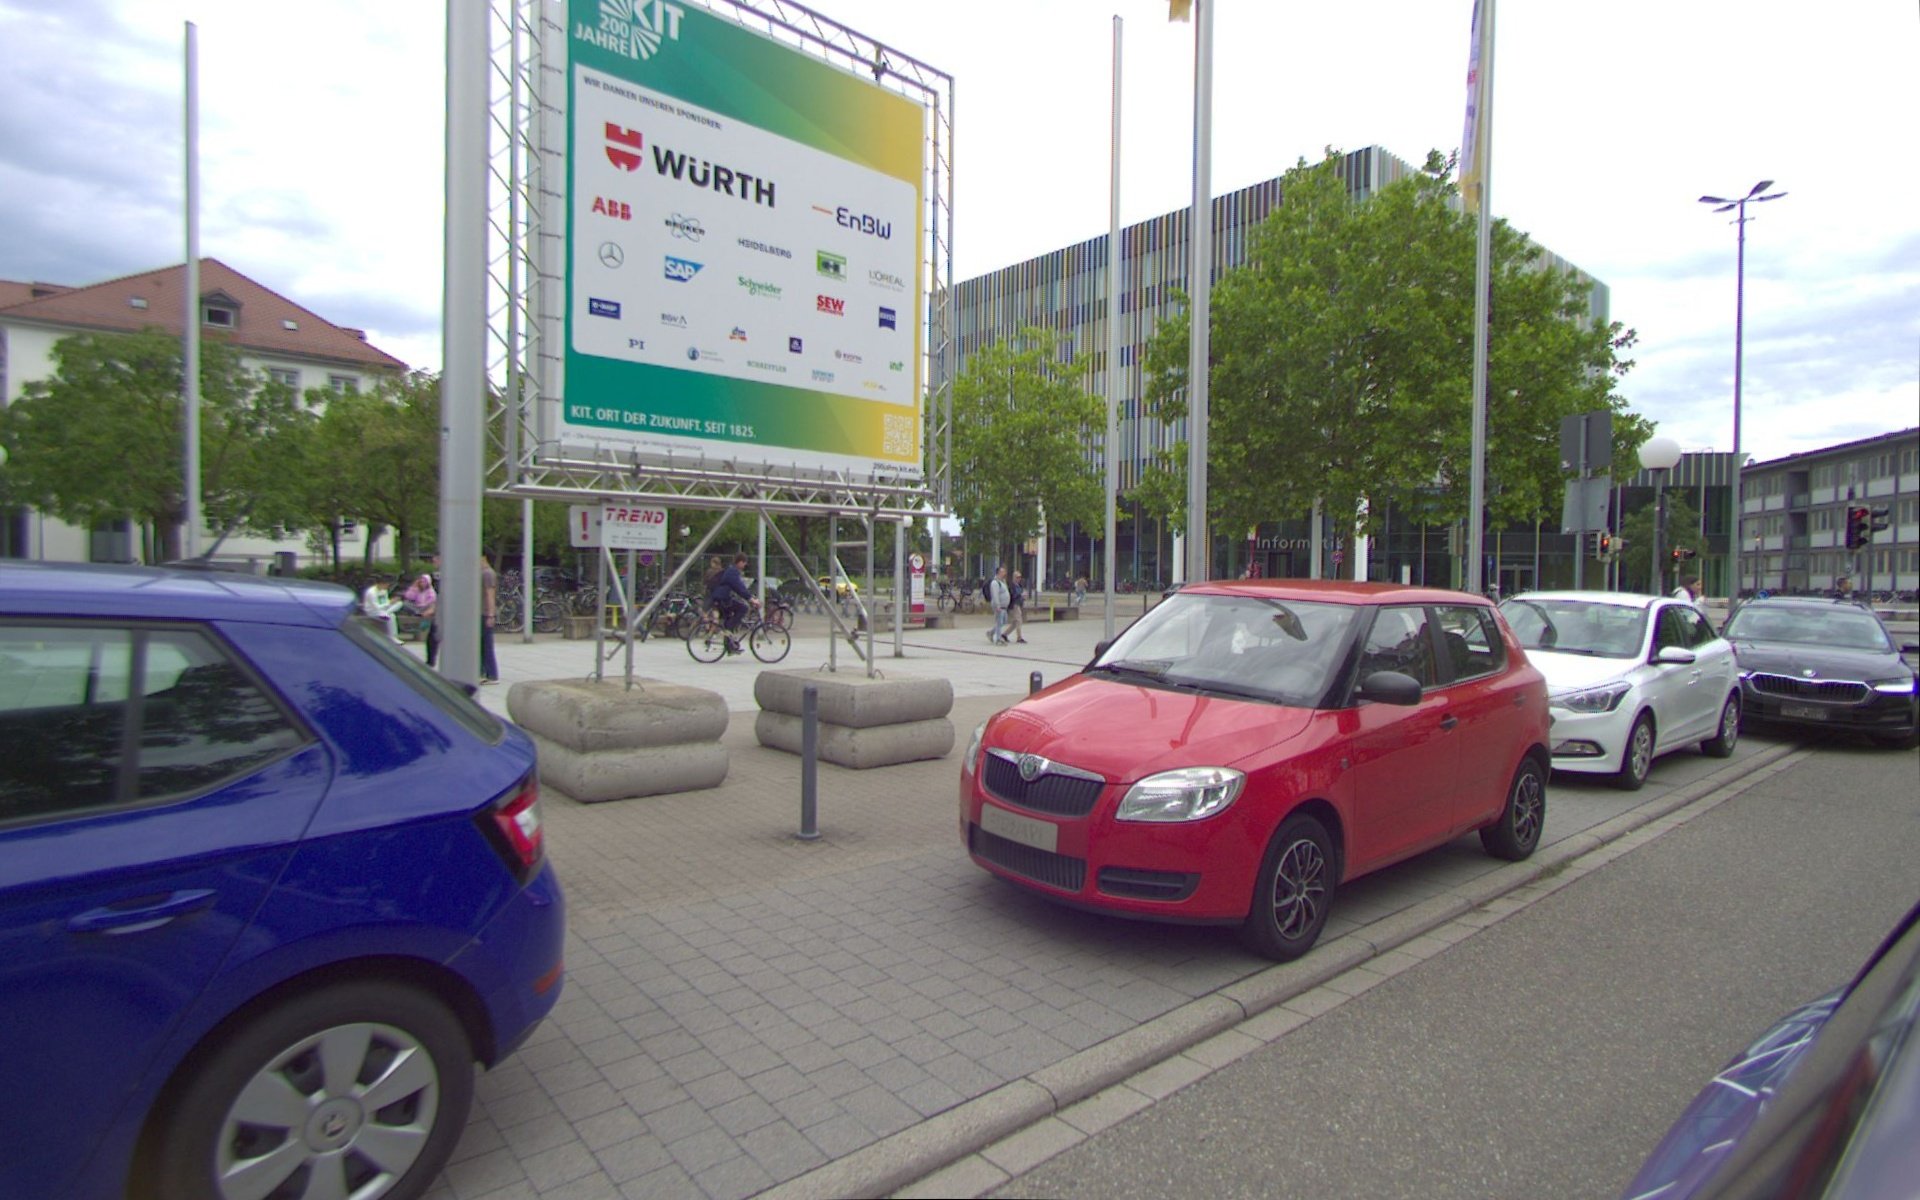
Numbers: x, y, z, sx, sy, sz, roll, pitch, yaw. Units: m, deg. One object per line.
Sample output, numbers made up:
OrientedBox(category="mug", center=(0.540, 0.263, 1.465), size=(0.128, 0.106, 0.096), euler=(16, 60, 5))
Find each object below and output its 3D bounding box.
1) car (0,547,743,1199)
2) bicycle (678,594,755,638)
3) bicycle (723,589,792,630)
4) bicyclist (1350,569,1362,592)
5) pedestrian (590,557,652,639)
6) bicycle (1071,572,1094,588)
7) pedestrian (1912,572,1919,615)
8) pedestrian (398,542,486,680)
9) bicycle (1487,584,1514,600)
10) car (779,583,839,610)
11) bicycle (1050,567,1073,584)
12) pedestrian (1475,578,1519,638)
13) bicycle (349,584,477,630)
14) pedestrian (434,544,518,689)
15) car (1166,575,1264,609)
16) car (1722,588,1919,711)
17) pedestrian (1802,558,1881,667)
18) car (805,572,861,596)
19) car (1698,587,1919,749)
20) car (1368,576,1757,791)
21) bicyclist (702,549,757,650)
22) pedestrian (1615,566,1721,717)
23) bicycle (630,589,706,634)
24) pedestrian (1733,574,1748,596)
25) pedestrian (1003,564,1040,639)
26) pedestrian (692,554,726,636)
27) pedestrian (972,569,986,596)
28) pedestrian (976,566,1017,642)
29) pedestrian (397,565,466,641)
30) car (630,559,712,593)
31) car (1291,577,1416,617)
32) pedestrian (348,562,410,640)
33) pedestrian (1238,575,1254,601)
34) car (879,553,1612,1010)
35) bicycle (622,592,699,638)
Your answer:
OrientedBox(category="car", center=(-2.711, 0.604, 1.836), size=(4.305, 1.429, 1.697), euler=(-1, 3, -44))
OrientedBox(category="bicycle", center=(-6.068, 0.383, 25.259), size=(0.456, 1.062, 1.904), euler=(2, 2, 44))
OrientedBox(category="bicycle", center=(-5.528, 0.251, 27.690), size=(0.456, 1.062, 1.904), euler=(2, 2, 44))
OrientedBox(category="bicyclist", center=(25.936, -1.258, 66.266), size=(0.593, 1.487, 0.485), euler=(0, 1, -23))
OrientedBox(category="pedestrian", center=(-7.406, -0.055, 22.145), size=(0.846, 1.725, 0.957), euler=(2, 2, 33))
OrientedBox(category="bicycle", center=(9.877, -1.578, 81.297), size=(2.069, 1.274, 0.627), euler=(-1, 2, -43))
OrientedBox(category="pedestrian", center=(41.251, -0.273, 42.935), size=(0.832, 1.810, 0.893), euler=(1, 1, 7))
OrientedBox(category="pedestrian", center=(-6.854, 0.147, 13.446), size=(0.680, 1.734, 0.910), euler=(3, -1, -6))
OrientedBox(category="bicycle", center=(32.761, -0.500, 61.389), size=(0.538, 0.947, 2.011), euler=(1, 1, -1))
OrientedBox(category="car", center=(-9.289, -0.250, 62.012), size=(1.963, 1.531, 3.998), euler=(0, 1, -38))
OrientedBox(category="bicycle", center=(8.300, -2.036, 82.907), size=(2.068, 1.275, 0.627), euler=(3, -2, -43))
OrientedBox(category="pedestrian", center=(15.022, 0.216, 28.323), size=(0.777, 1.647, 0.759), euler=(0, 1, -27))
OrientedBox(category="bicycle", center=(-15.294, 0.207, 28.380), size=(3.051, 1.185, 0.747), euler=(3, -2, -39))
OrientedBox(category="pedestrian", center=(-6.037, 0.200, 12.659), size=(0.635, 1.734, 0.782), euler=(3, -1, -4))
OrientedBox(category="car", center=(11.667, -0.361, 46.542), size=(1.964, 1.471, 3.997), euler=(-2, 1, -38))
OrientedBox(category="car", center=(13.121, 0.632, 15.312), size=(4.033, 1.520, 1.626), euler=(-1, 4, -40))
OrientedBox(category="pedestrian", center=(16.363, 0.226, 18.801), size=(0.742, 1.976, 0.795), euler=(0, 1, -13))
OrientedBox(category="car", center=(-8.823, -1.132, 70.044), size=(1.963, 1.638, 4.192), euler=(0, 1, -38))
OrientedBox(category="car", center=(9.798, 0.621, 11.689), size=(1.855, 1.418, 4.423), euler=(4, 3, 35))
OrientedBox(category="car", center=(5.424, 0.548, 8.936), size=(3.791, 1.471, 1.864), euler=(0, 1, -41))
OrientedBox(category="bicyclist", center=(-3.914, -0.015, 17.149), size=(0.850, 1.661, 0.878), euler=(1, 0, -16))
OrientedBox(category="pedestrian", center=(8.845, 0.484, 12.658), size=(0.805, 1.809, 0.794), euler=(0, 1, -29))
OrientedBox(category="bicycle", center=(-7.186, 0.262, 24.993), size=(0.454, 1.062, 1.911), euler=(2, 1, 35))
OrientedBox(category="pedestrian", center=(65.044, -1.234, 84.332), size=(0.766, 1.811, 0.757), euler=(1, 1, 18))
OrientedBox(category="pedestrian", center=(1.449, 0.028, 23.940), size=(0.645, 1.737, 0.586), euler=(0, 1, -35))
OrientedBox(category="pedestrian", center=(-5.798, -0.122, 23.429), size=(0.660, 1.856, 0.511), euler=(0, 1, 0))
OrientedBox(category="pedestrian", center=(1.334, -1.218, 70.789), size=(0.794, 1.832, 0.588), euler=(0, 1, -36))
OrientedBox(category="pedestrian", center=(0.839, 0.079, 23.407), size=(0.665, 1.737, 0.673), euler=(0, 1, -35))
OrientedBox(category="pedestrian", center=(-10.350, 0.040, 19.823), size=(0.848, 1.438, 0.955), euler=(1, 2, 38))
OrientedBox(category="car", center=(-15.783, -1.329, 55.413), size=(1.985, 1.774, 4.019), euler=(1, 2, 32))
OrientedBox(category="car", center=(15.844, -0.161, 40.905), size=(1.965, 1.508, 4.286), euler=(-1, 2, -41))
OrientedBox(category="pedestrian", center=(-10.875, 0.006, 18.956), size=(0.664, 1.430, 0.765), euler=(1, 1, 18))
OrientedBox(category="pedestrian", center=(20.763, -0.877, 73.417), size=(0.788, 1.810, 0.762), euler=(-1, 2, -39))
OrientedBox(category="car", center=(1.785, 0.582, 5.422), size=(4.199, 1.491, 1.716), euler=(0, 3, -41))
OrientedBox(category="bicycle", center=(-7.213, 0.335, 24.485), size=(0.454, 1.062, 1.911), euler=(2, 1, 34))
